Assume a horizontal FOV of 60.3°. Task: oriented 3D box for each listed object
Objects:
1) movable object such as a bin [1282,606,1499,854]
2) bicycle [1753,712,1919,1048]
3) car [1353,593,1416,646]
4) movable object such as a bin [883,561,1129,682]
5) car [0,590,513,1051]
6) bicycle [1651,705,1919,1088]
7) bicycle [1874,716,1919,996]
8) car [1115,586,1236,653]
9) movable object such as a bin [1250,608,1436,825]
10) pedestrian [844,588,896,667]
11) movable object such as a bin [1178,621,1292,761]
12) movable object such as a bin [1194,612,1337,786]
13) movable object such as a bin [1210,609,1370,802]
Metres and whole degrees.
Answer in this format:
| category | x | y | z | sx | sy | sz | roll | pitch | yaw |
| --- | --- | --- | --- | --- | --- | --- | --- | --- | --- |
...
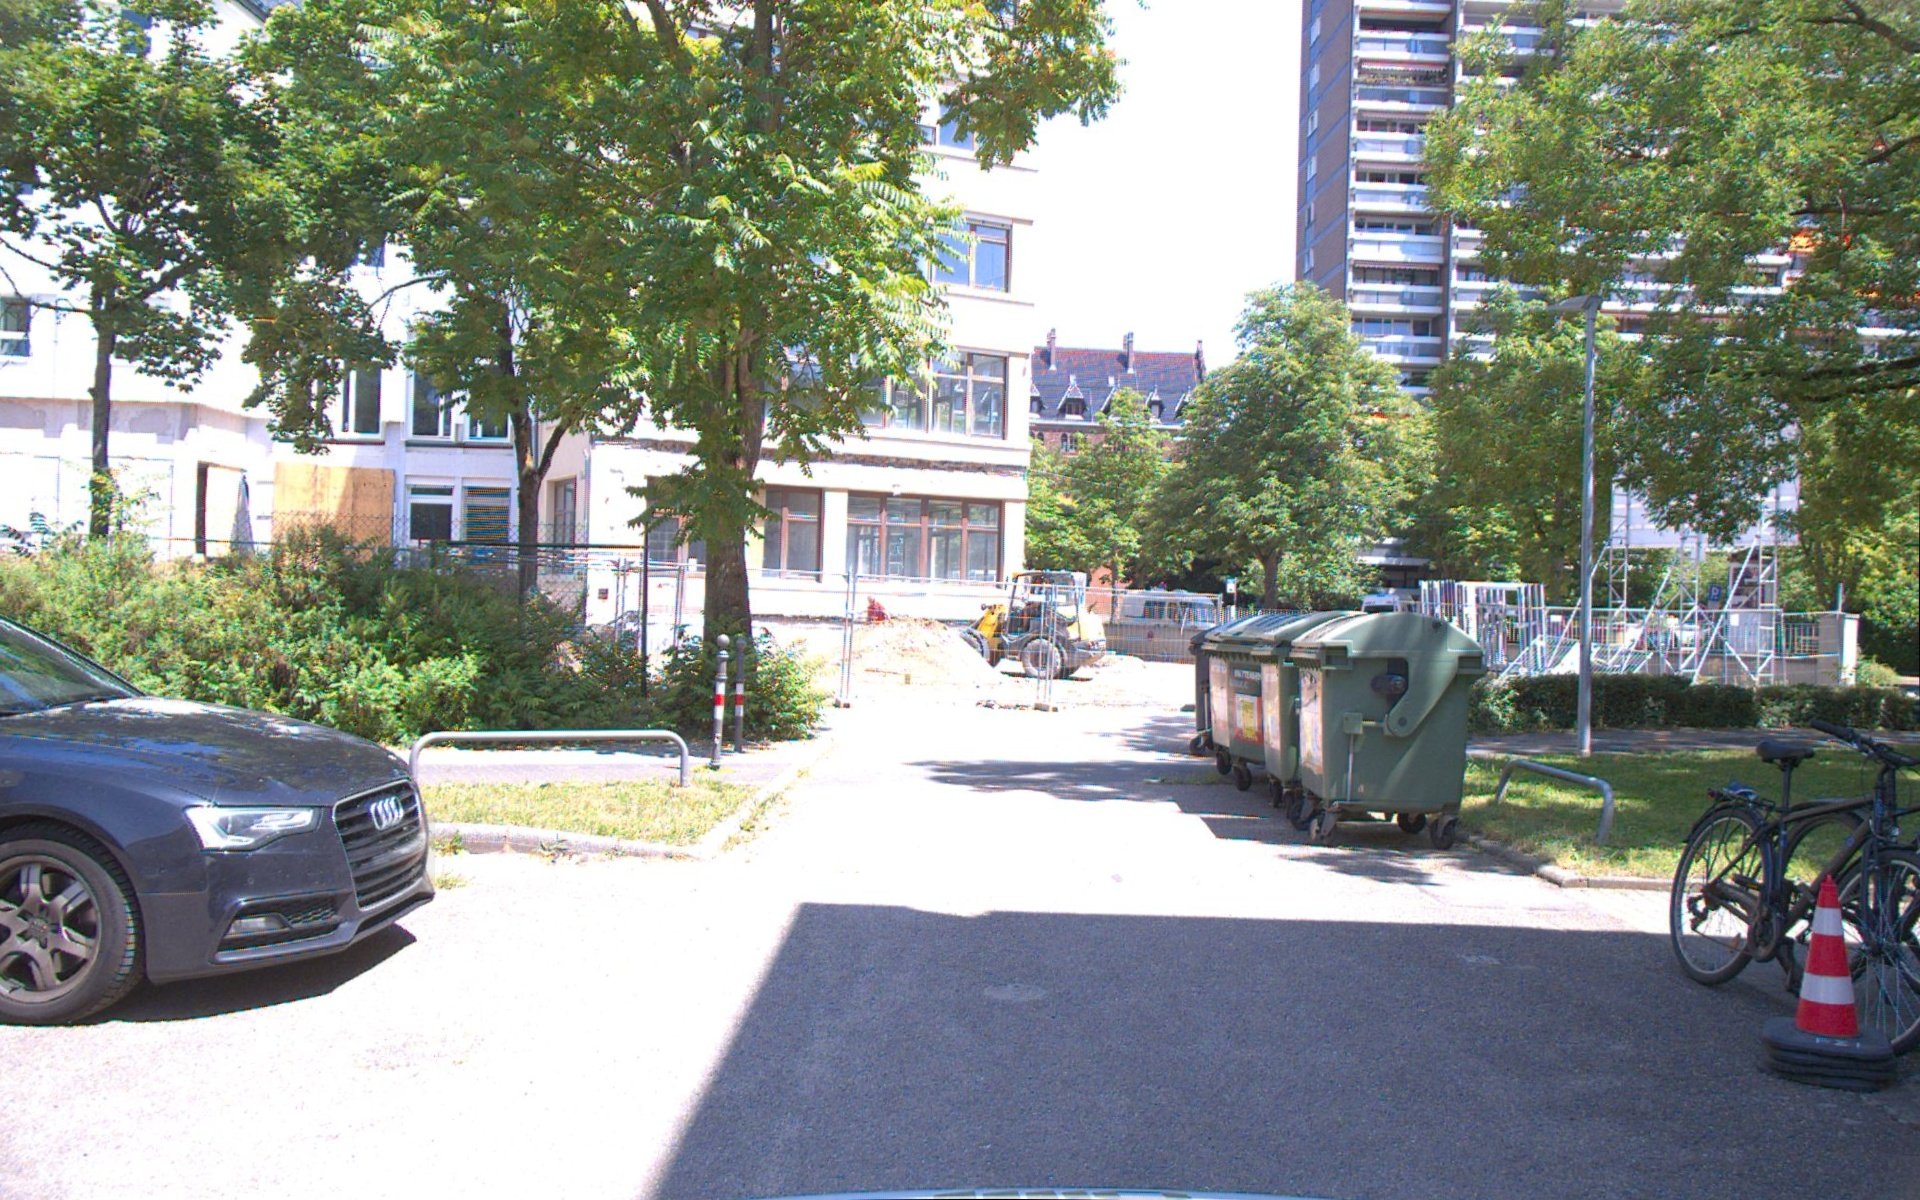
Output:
| category | x | y | z | sx | sy | sz | roll | pitch | yaw |
| --- | --- | --- | --- | --- | --- | --- | --- | --- | --- |
| movable object such as a bin | 2.765 | 0.803 | 10.795 | 1.053 | 1.483 | 1.377 | 2 | -1 | 1 |
| bicycle | 3.618 | 1.039 | 6.216 | 0.396 | 1.121 | 1.826 | 2 | -1 | 1 |
| car | 19.487 | 0.932 | 75.809 | 2.140 | 2.298 | 4.868 | 1 | -1 | 22 |
| movable object such as a bin | 1.091 | 0.488 | 39.718 | 5.301 | 2.507 | 2.364 | 3 | 0 | 28 |
| car | -4.176 | 0.651 | 6.249 | 4.337 | 1.404 | 2.024 | 2 | -1 | 2 |
| bicycle | 3.159 | 1.002 | 6.165 | 0.396 | 1.121 | 1.826 | 2 | -1 | 1 |
| bicycle | 4.123 | 1.053 | 6.183 | 0.396 | 1.121 | 1.826 | 2 | -1 | 1 |
| car | 8.264 | 0.733 | 63.880 | 1.971 | 2.459 | 5.194 | 2 | -1 | -28 |
| movable object such as a bin | 2.797 | 0.822 | 12.238 | 1.053 | 1.483 | 1.377 | 2 | -1 | 1 |
| pedestrian | -2.197 | 0.680 | 40.402 | 0.895 | 1.879 | 0.986 | 1 | -1 | 21 |
| movable object such as a bin | 3.076 | 0.999 | 18.636 | 1.053 | 1.483 | 1.377 | 2 | -1 | 1 |
| movable object such as a bin | 2.768 | 0.872 | 15.132 | 1.053 | 1.483 | 1.377 | 2 | -1 | 1 |
| movable object such as a bin | 2.701 | 0.838 | 13.711 | 1.053 | 1.483 | 1.377 | 2 | -1 | 1 |
